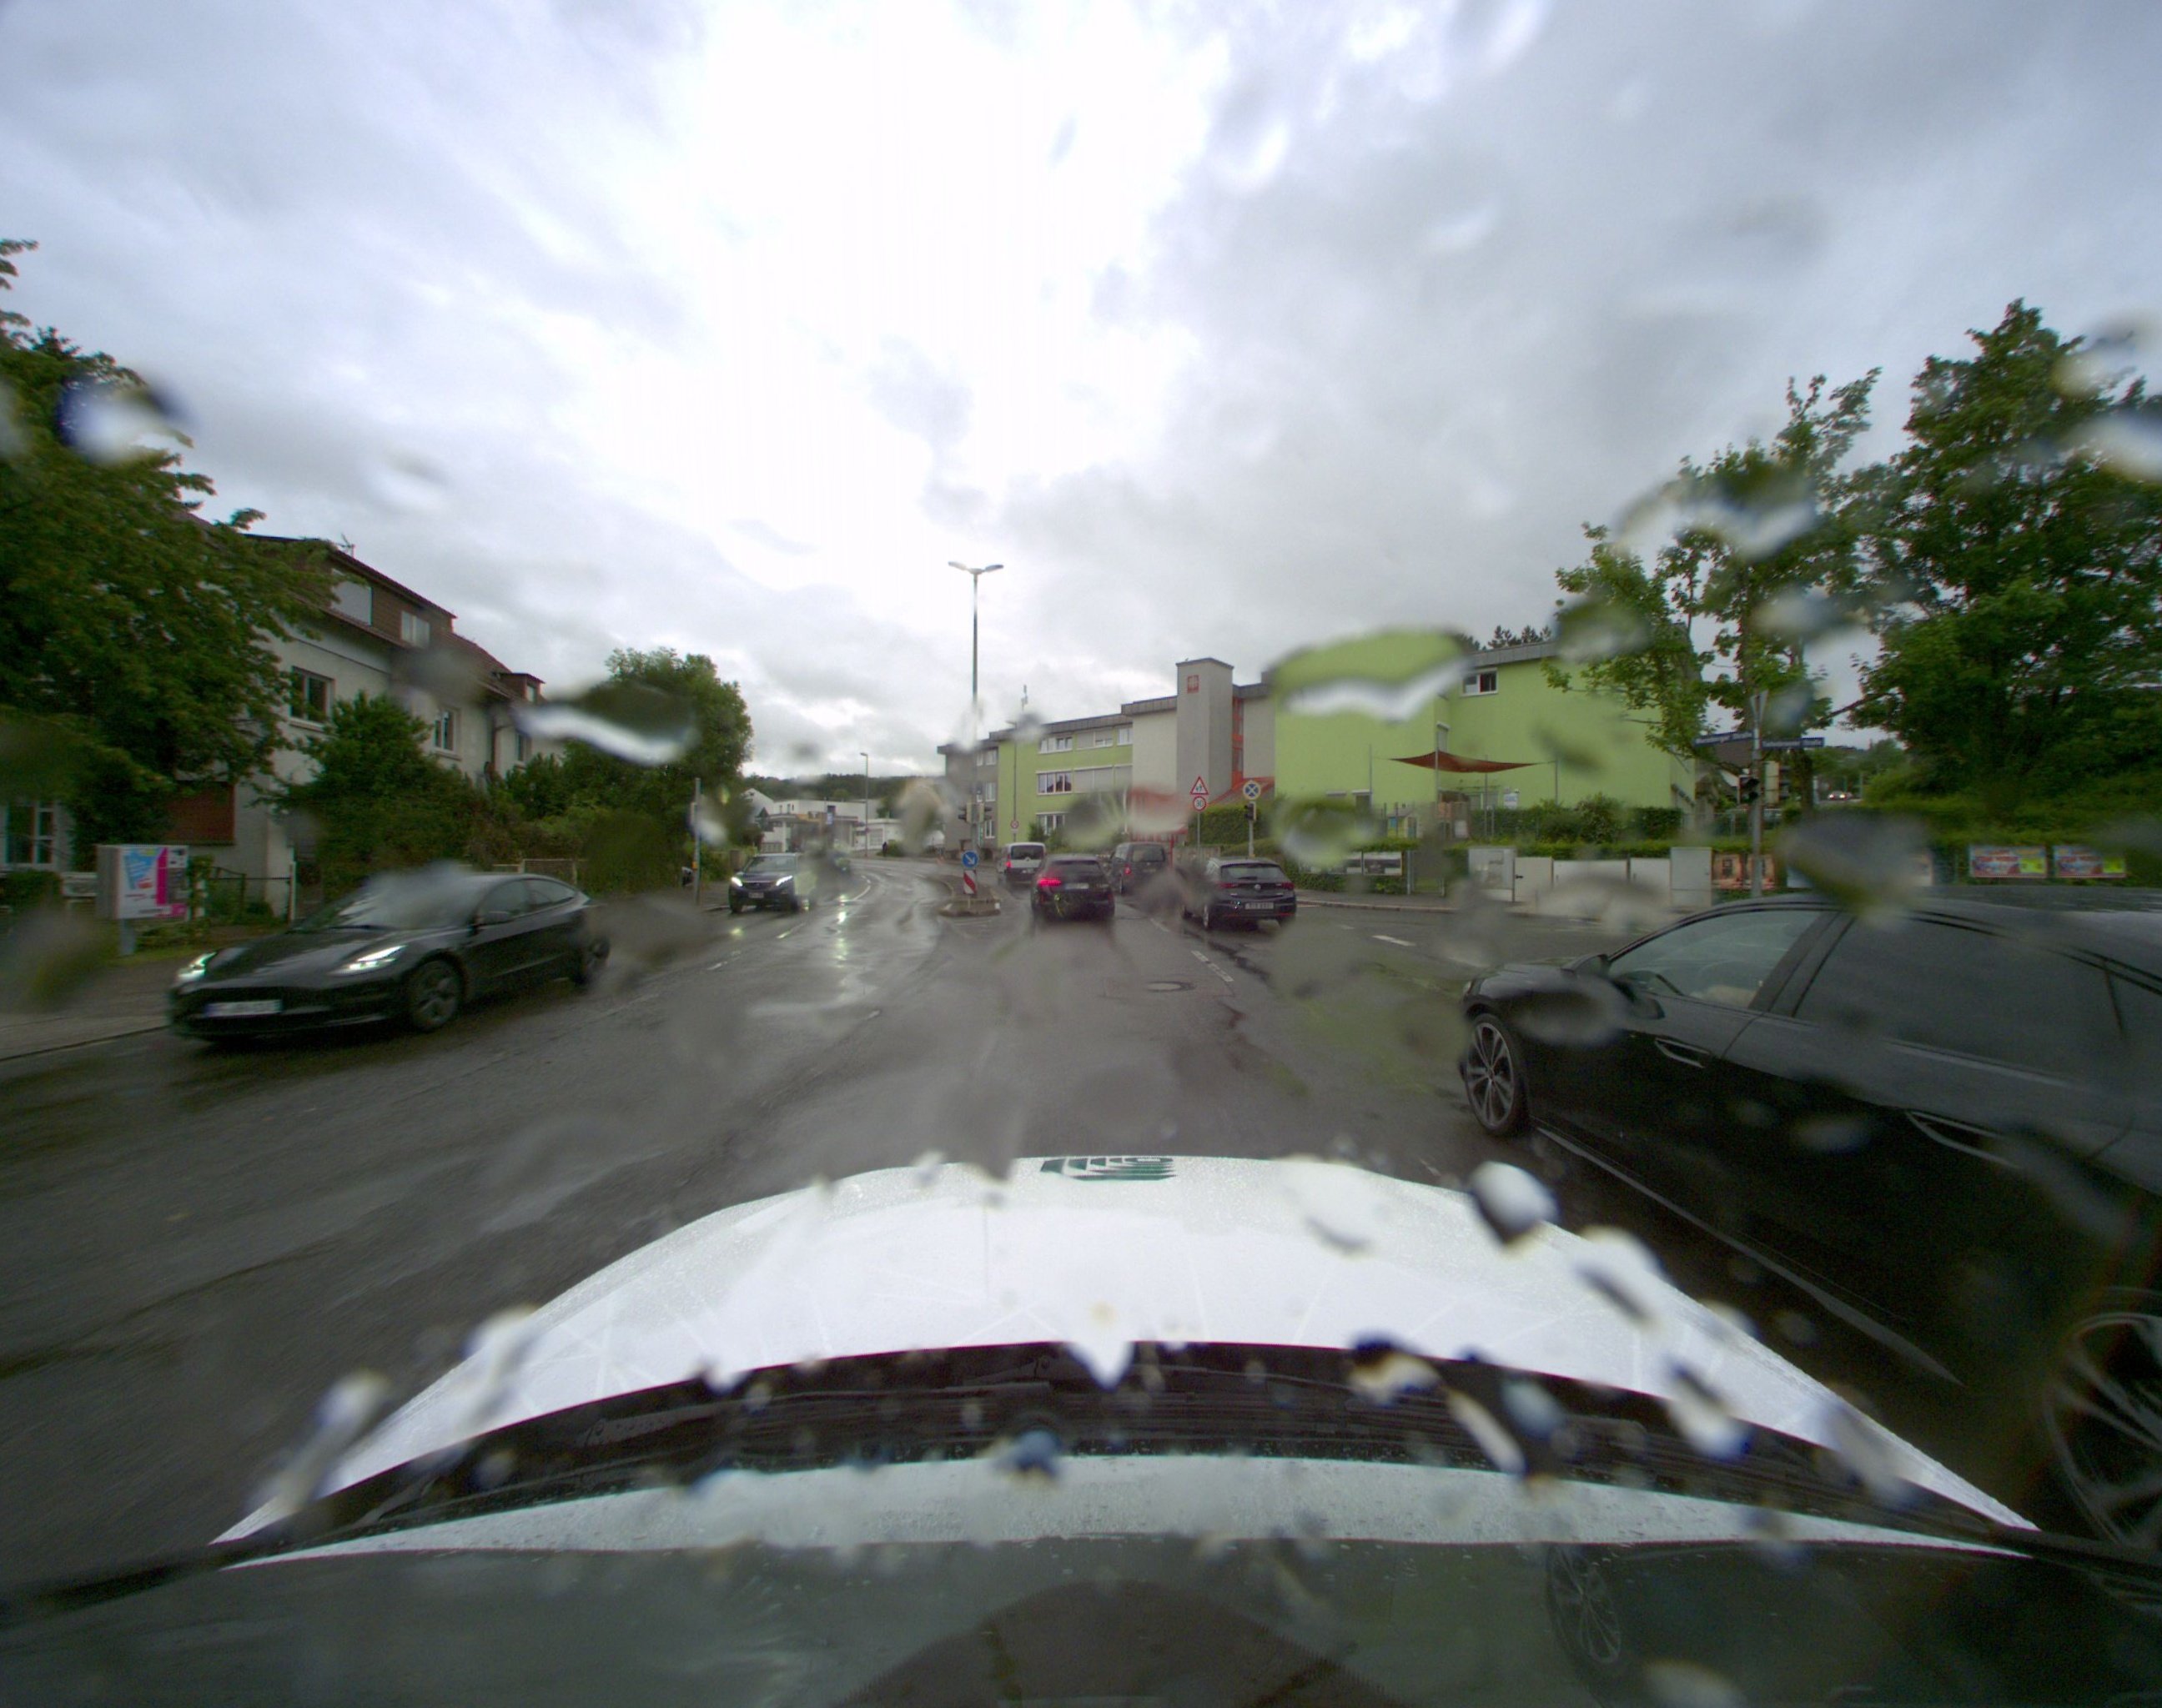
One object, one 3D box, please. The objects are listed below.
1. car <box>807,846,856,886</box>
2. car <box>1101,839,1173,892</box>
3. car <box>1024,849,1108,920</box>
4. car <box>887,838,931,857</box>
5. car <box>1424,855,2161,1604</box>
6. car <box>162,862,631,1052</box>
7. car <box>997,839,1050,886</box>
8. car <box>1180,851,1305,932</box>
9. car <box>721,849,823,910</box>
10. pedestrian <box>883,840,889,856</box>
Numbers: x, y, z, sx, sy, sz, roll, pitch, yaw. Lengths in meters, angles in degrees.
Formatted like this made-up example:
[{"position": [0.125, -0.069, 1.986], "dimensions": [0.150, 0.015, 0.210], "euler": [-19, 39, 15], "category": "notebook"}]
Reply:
[{"position": [-10.757, 0.518, 35.305], "dimensions": [1.621, 1.581, 3.758], "euler": [-2, 0, -11], "category": "car"}, {"position": [1.972, 0.352, 29.713], "dimensions": [1.782, 1.734, 4.076], "euler": [-2, 1, -8], "category": "car"}, {"position": [-0.448, 0.668, 19.855], "dimensions": [1.680, 1.506, 3.765], "euler": [-2, 0, -6], "category": "car"}, {"position": [-17.892, -0.674, 84.918], "dimensions": [4.399, 1.772, 1.991], "euler": [-2, 0, -13], "category": "car"}, {"position": [2.995, 0.740, 2.969], "dimensions": [1.700, 1.427, 4.510], "euler": [0, 0, 1], "category": "car"}, {"position": [-6.859, 0.873, 8.894], "dimensions": [1.789, 1.489, 4.147], "euler": [-2, 0, -5], "category": "car"}, {"position": [-2.535, 0.323, 35.161], "dimensions": [1.718, 1.844, 4.070], "euler": [-2, 1, -12], "category": "car"}, {"position": [3.278, 0.690, 17.339], "dimensions": [1.844, 1.486, 4.086], "euler": [-1, 0, 0], "category": "car"}, {"position": [-8.907, 0.687, 23.814], "dimensions": [1.848, 1.564, 3.990], "euler": [-2, 0, -7], "category": "car"}, {"position": [-19.311, -0.575, 80.784], "dimensions": [0.475, 1.620, 0.417], "euler": [-2, 0, -28], "category": "pedestrian"}]
